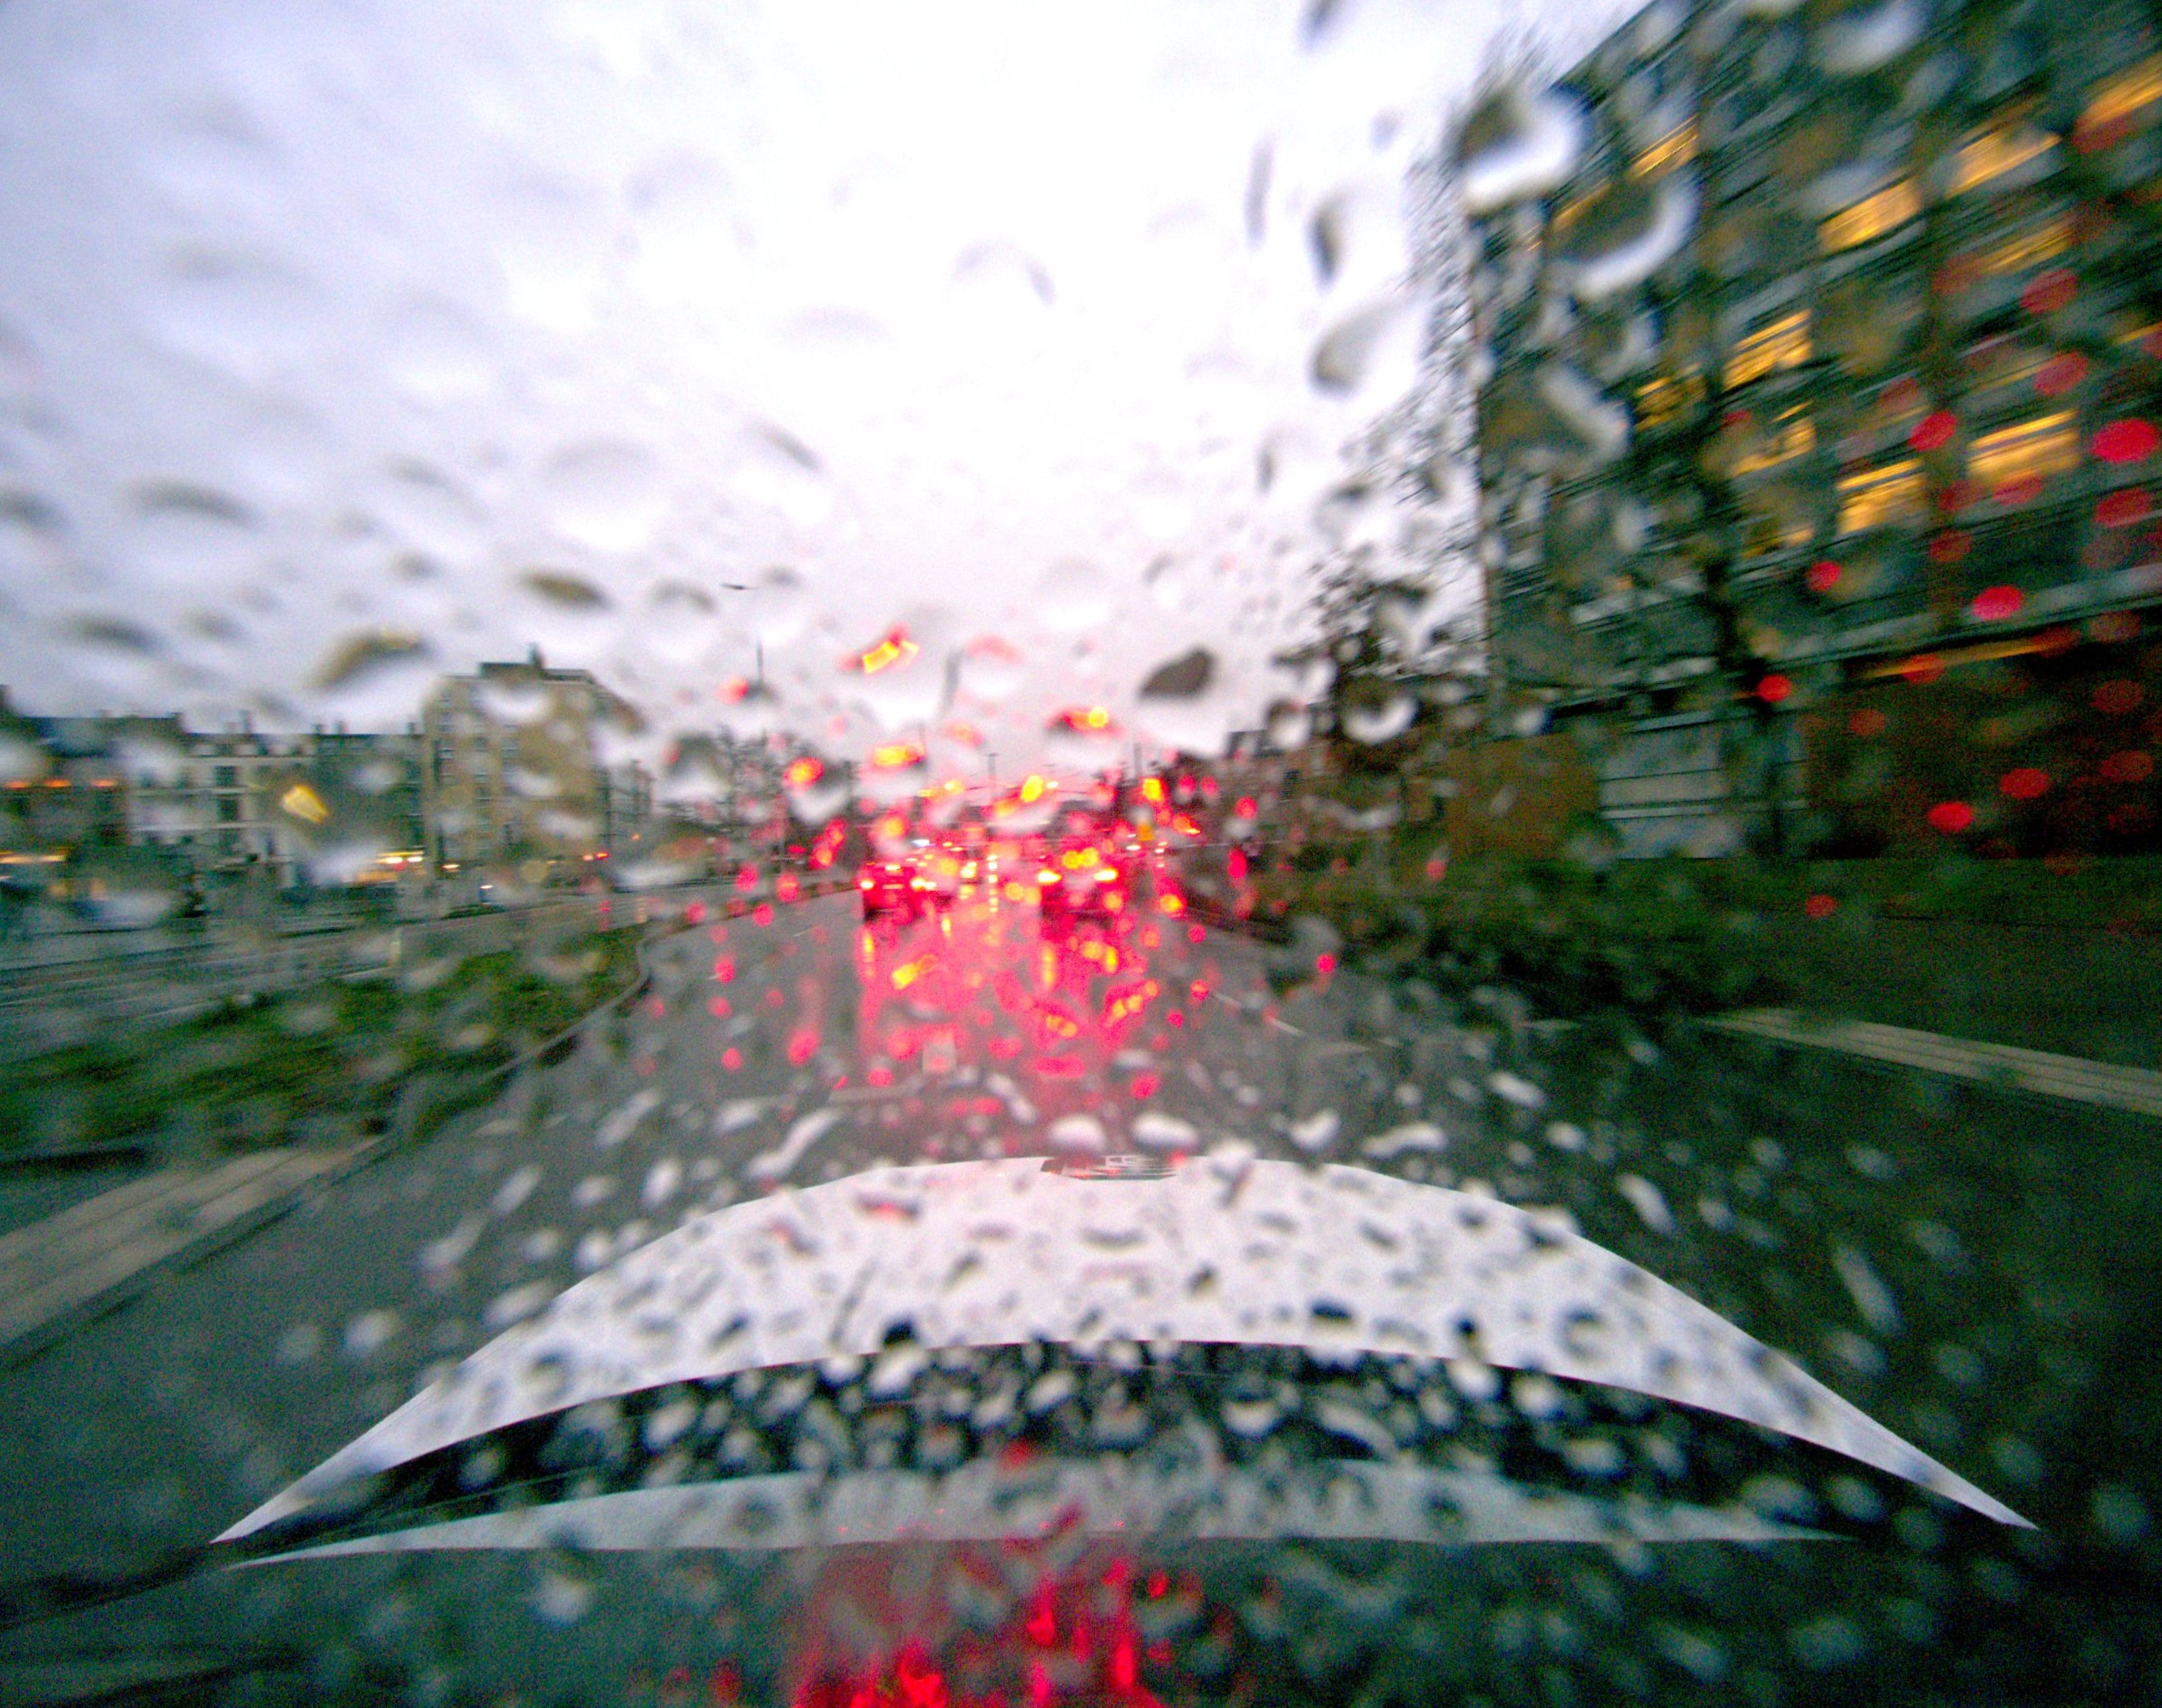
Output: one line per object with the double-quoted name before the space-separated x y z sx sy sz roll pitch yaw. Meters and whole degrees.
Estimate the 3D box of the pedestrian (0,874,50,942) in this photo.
"pedestrian" -31.404 1.589 23.949 1.049 1.918 1.131 -3 0 31

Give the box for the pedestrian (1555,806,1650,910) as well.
"pedestrian" 9.098 0.062 14.250 0.807 1.687 1.067 -5 0 -9

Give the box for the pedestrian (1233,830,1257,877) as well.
"pedestrian" 6.206 -0.013 30.775 0.661 1.687 0.615 -5 1 22

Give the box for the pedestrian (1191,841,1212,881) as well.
"pedestrian" 5.905 0.330 39.989 0.800 1.929 0.764 -1 3 22

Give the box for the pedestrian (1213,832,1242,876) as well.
"pedestrian" 6.143 0.010 34.150 0.855 1.791 0.743 -3 0 -26

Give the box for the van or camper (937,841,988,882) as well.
"van or camper" -6.578 0.373 45.739 2.195 2.109 4.985 -1 0 -1

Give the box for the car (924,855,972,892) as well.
"car" -6.083 0.855 37.558 1.782 1.601 4.534 0 0 -4

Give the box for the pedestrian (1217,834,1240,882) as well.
"pedestrian" 5.613 0.152 31.017 0.578 1.781 0.773 -5 -1 22

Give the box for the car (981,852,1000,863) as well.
"car" -12.934 0.532 116.618 1.803 1.446 4.008 -3 0 7

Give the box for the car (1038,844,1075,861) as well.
"car" -2.897 -0.182 96.023 3.989 1.771 1.992 -3 0 -11

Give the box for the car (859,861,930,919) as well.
"car" -5.296 0.958 23.522 1.700 1.481 3.860 0 0 -9

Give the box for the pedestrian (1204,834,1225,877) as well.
"pedestrian" 6.559 0.069 39.896 0.800 2.013 0.764 -1 3 22

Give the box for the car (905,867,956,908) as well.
"car" -5.689 1.228 31.128 1.658 1.404 4.109 -1 0 -7

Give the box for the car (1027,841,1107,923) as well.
"car" -0.380 0.609 20.835 1.773 1.800 4.421 -2 1 -2

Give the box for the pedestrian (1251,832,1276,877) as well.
"pedestrian" 6.970 0.014 31.065 0.712 1.687 0.764 -3 0 21

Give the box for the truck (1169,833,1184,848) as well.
"truck" 18.129 -2.496 155.005 1.979 2.691 5.136 -3 0 15
